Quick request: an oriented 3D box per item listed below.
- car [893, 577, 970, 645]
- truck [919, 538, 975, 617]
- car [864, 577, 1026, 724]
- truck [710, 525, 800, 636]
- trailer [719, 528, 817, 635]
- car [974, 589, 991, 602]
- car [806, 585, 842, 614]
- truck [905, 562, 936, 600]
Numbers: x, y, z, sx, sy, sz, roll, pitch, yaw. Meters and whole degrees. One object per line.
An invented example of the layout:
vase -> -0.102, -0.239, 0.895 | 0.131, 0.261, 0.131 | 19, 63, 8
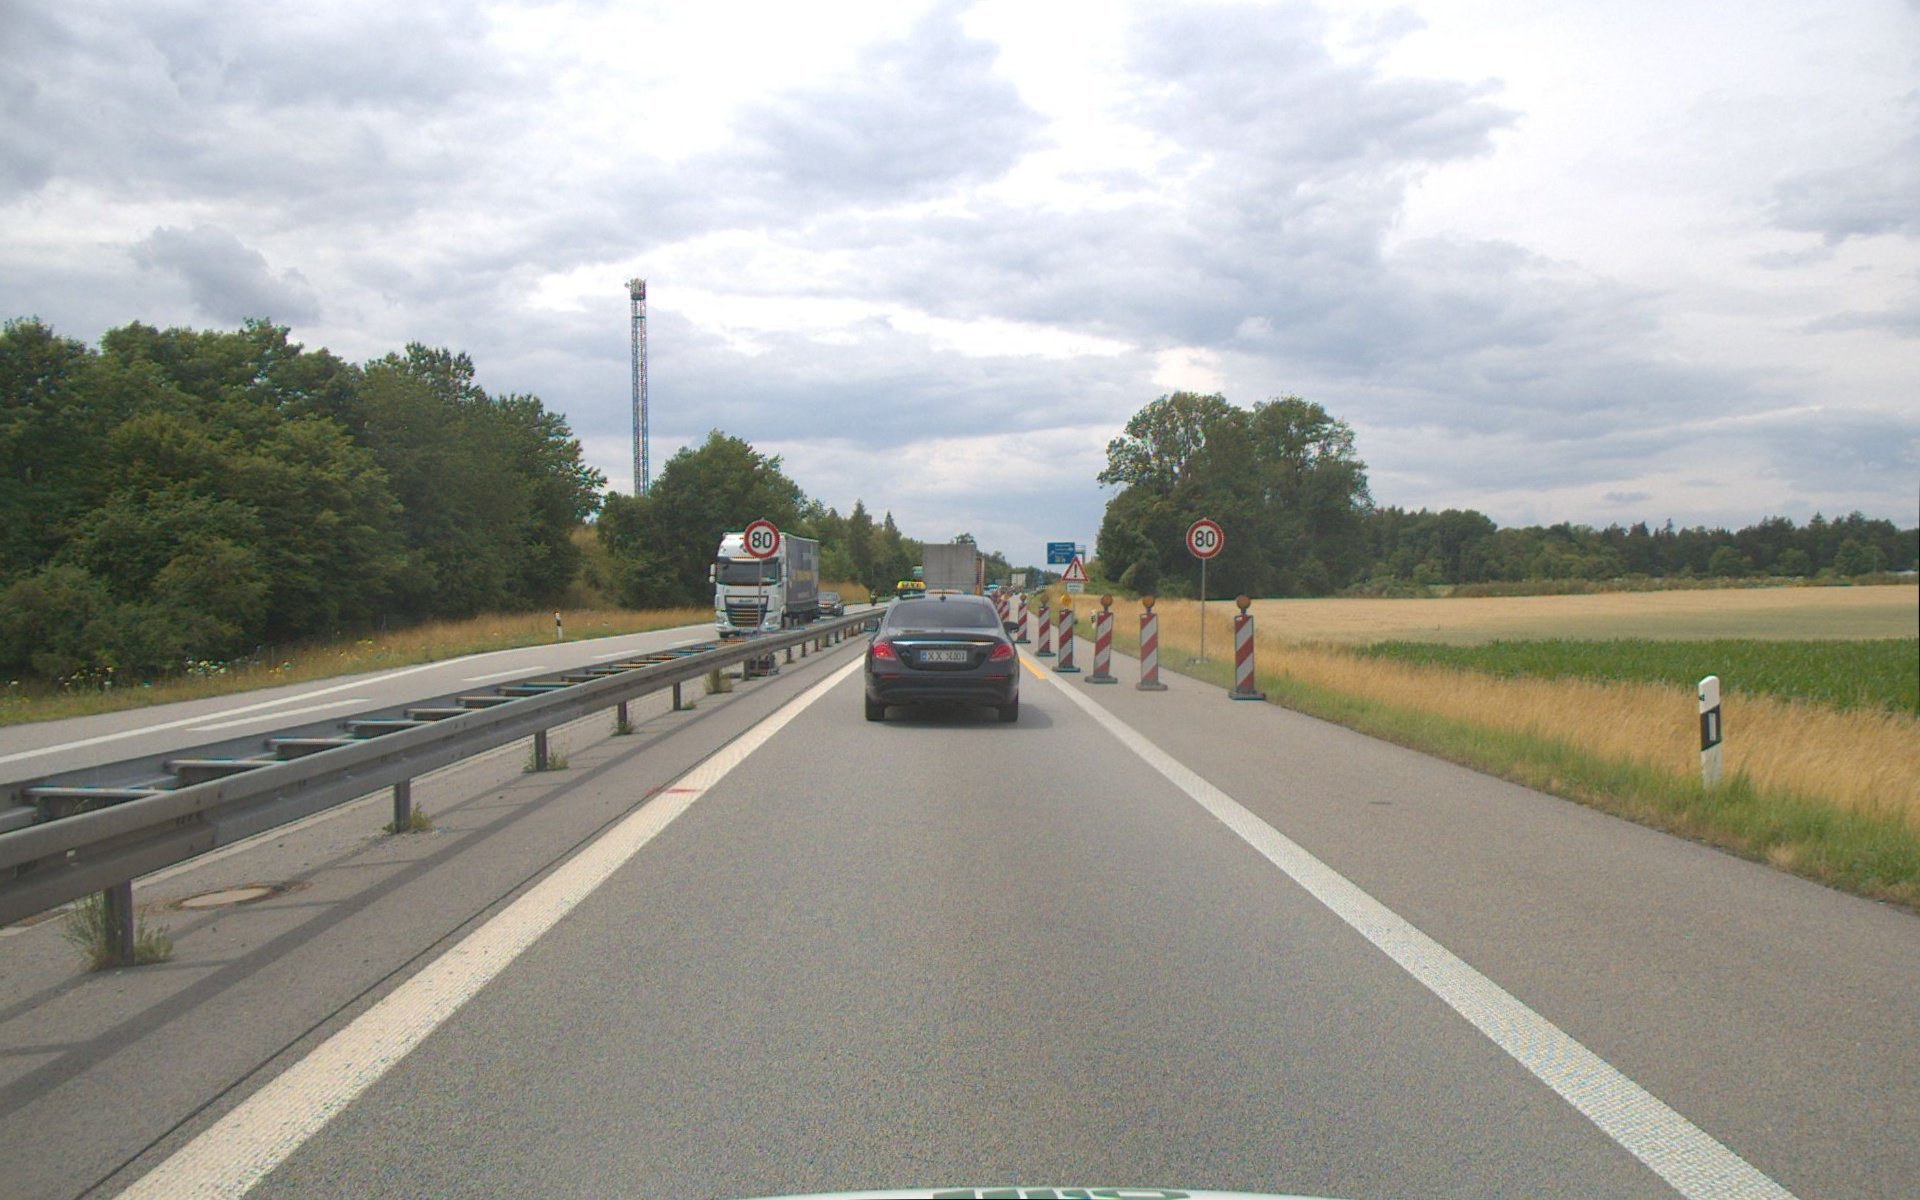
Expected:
car -> -0.948, 0.353, 52.816 | 1.956, 2.049, 3.992 | 1, 0, -8
truck -> -0.642, -1.030, 78.915 | 2.534, 3.586, 4.811 | 1, 0, -1
car -> -0.215, 0.570, 20.138 | 1.759, 1.587, 3.998 | 1, 0, -2
truck -> -8.166, -0.720, 66.721 | 2.741, 4.214, 7.227 | 1, 0, 0
trailer -> -8.207, -0.697, 72.535 | 2.741, 4.246, 13.561 | 1, 0, 0
car -> 2.577, -0.534, 192.367 | 1.616, 1.420, 3.703 | 1, 0, -4
car -> -8.553, -0.015, 104.612 | 1.953, 1.713, 4.233 | 1, 0, -1
truck -> -4.584, -2.208, 193.488 | 3.057, 4.287, 6.783 | 1, 0, 3
